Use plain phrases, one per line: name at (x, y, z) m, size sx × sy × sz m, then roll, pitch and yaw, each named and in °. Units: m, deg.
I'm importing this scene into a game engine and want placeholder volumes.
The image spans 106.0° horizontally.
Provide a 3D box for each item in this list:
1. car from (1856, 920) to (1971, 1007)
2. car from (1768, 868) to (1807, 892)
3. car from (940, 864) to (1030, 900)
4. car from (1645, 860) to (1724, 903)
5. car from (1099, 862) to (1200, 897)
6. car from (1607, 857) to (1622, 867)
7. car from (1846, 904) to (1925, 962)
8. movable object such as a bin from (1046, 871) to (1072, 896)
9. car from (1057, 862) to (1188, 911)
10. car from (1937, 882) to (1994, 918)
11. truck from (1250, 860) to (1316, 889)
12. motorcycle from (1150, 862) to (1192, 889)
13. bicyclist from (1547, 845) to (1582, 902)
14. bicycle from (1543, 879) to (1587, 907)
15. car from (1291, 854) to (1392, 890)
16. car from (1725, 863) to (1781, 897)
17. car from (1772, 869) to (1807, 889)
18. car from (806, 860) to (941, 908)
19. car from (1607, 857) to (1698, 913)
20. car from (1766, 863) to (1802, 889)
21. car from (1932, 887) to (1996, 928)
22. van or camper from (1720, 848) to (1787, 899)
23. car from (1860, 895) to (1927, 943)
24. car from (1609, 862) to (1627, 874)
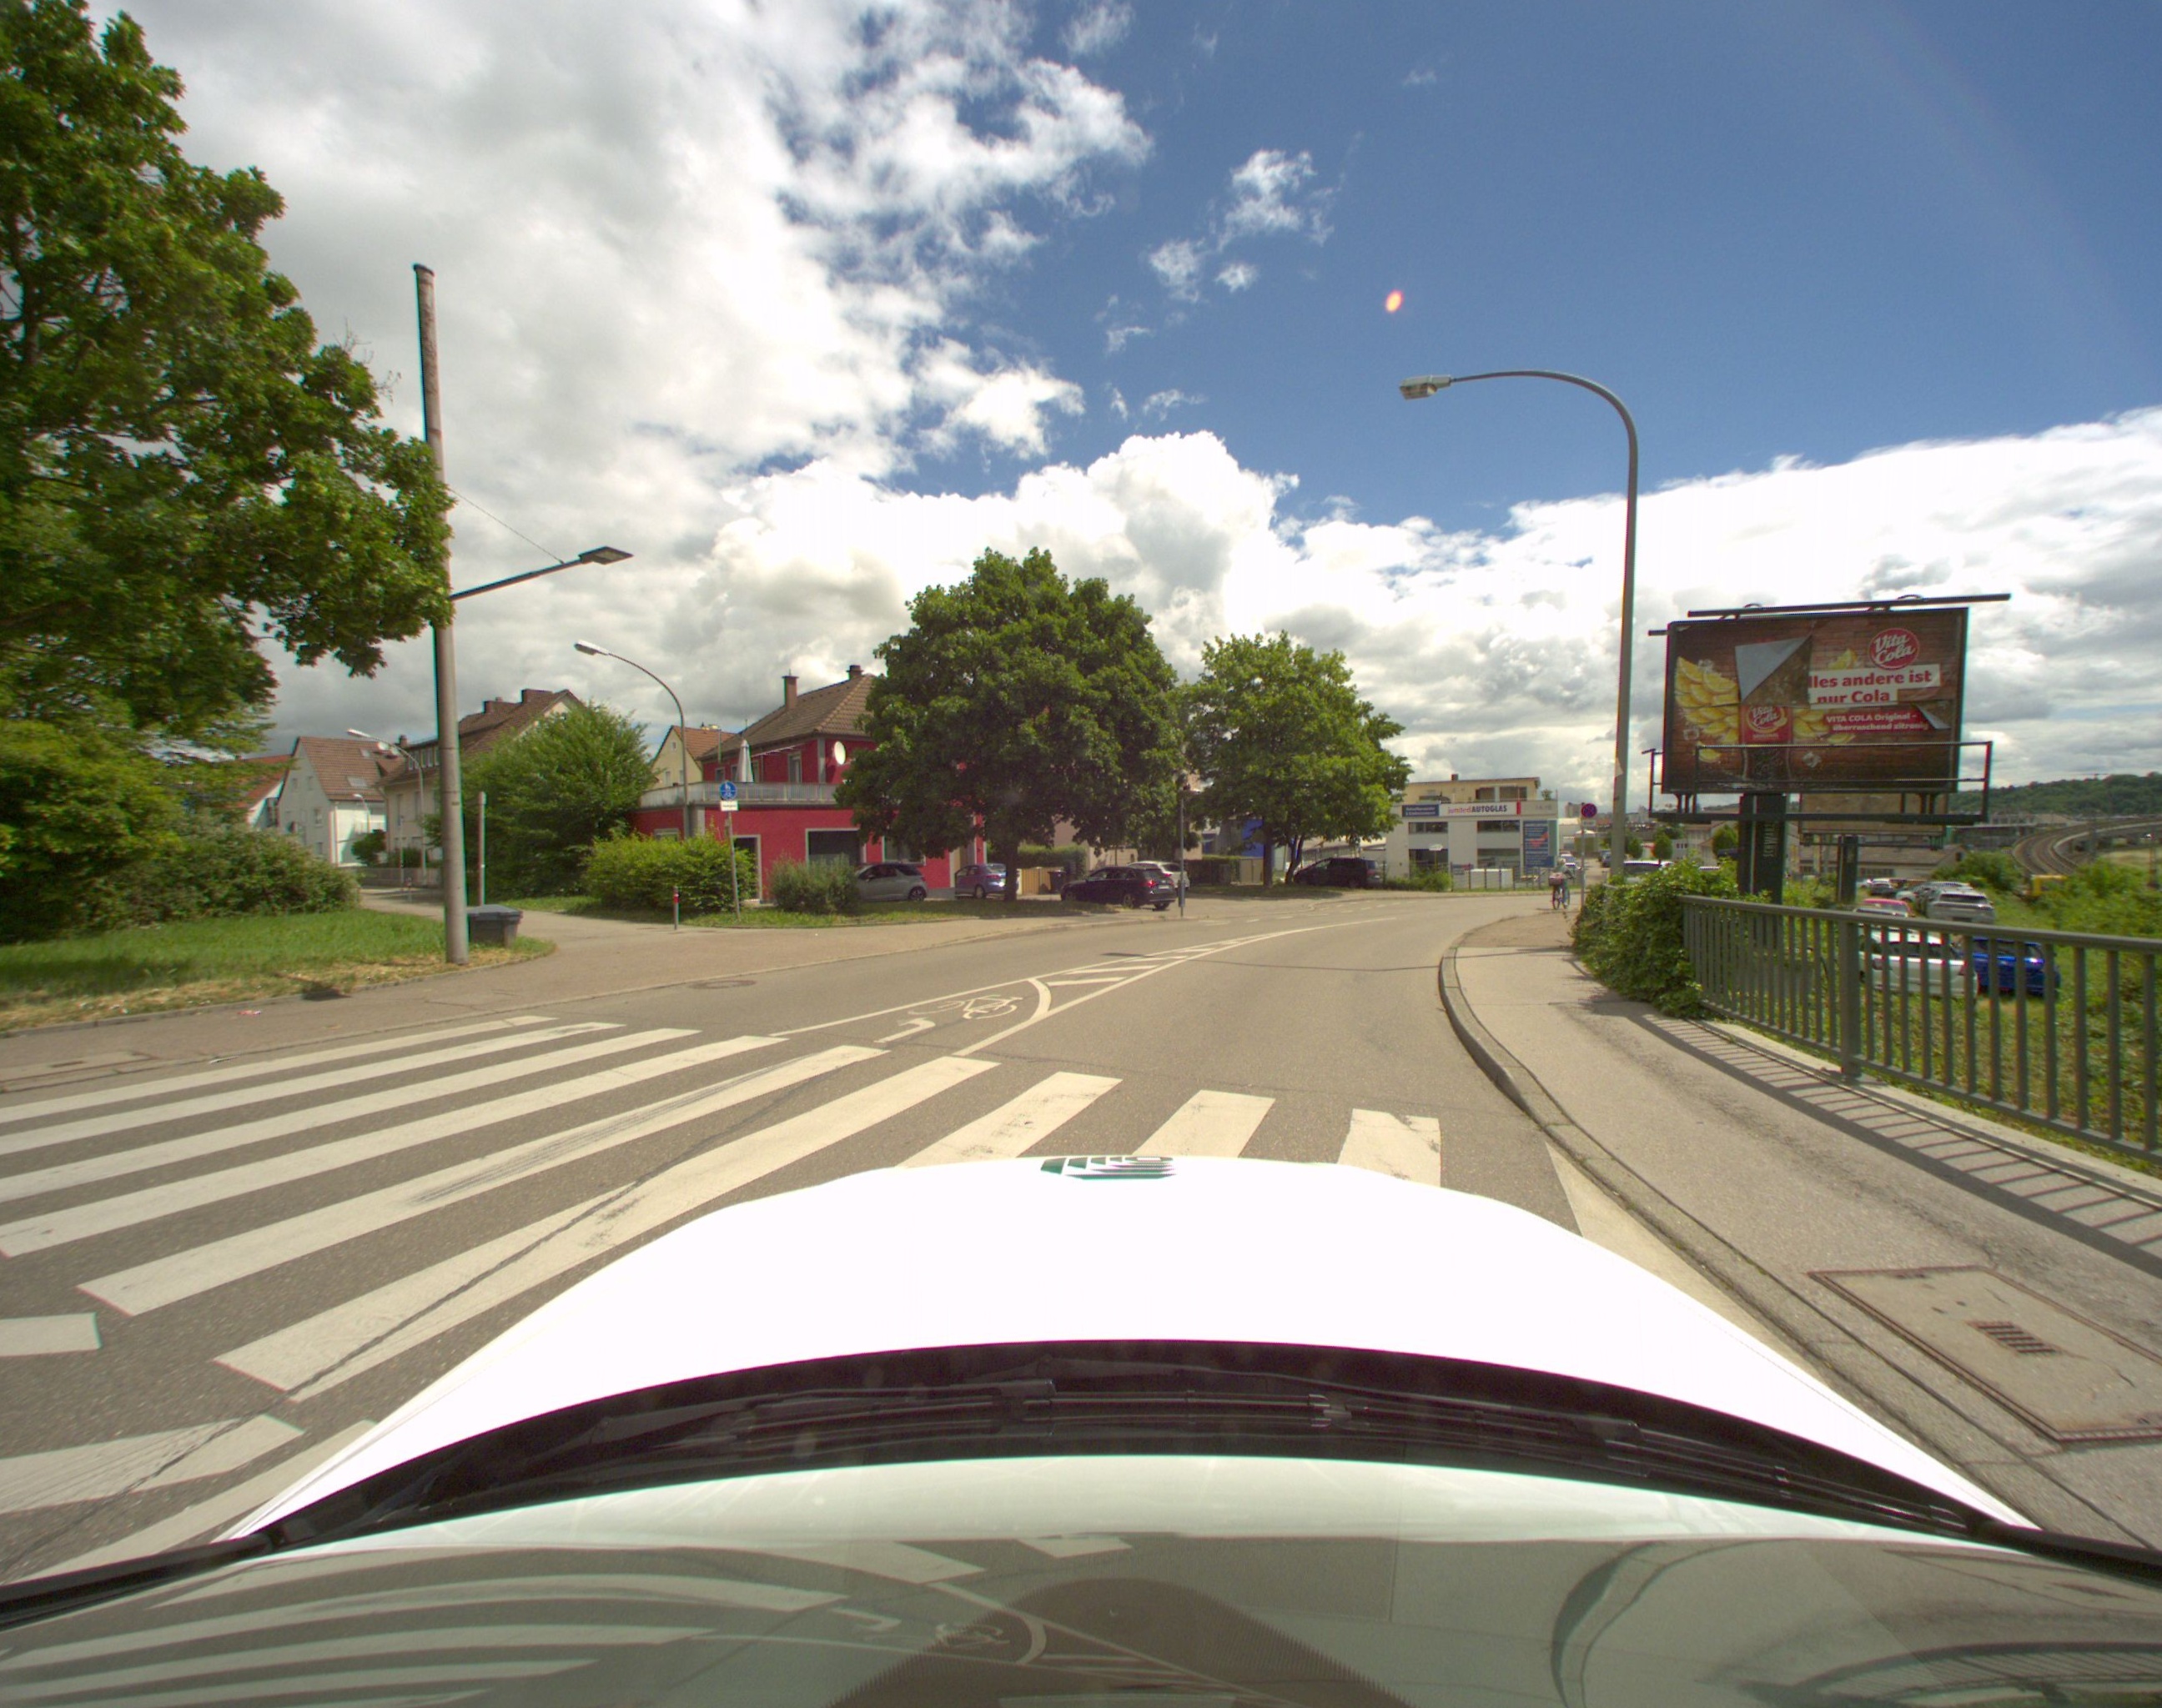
car at (18.914, 2.392, 18.549) m, size 3.528 × 1.510 × 1.690 m, roll 1°, pitch 0°, yaw -44°
car at (46.220, 1.682, 53.272) m, size 1.776 × 1.506 × 2.923 m, roll -3°, pitch -3°, yaw 43°
car at (-4.055, 1.151, 34.084) m, size 1.853 × 1.378 × 3.767 m, roll 0°, pitch -1°, yaw -43°
car at (22.803, 0.982, 30.707) m, size 4.599 × 1.487 × 1.690 m, roll 1°, pitch 0°, yaw -44°
car at (2.828, 1.036, 34.228) m, size 3.882 × 1.404 × 1.887 m, roll -1°, pitch -1°, yaw 43°
car at (73.928, 1.117, 112.944) m, size 1.654 × 1.324 × 3.741 m, roll -2°, pitch -3°, yaw 32°
car at (25.484, 2.441, 25.793) m, size 3.528 × 1.510 × 1.690 m, roll 1°, pitch 0°, yaw -44°
movable object such as a bin at (-0.982, 1.304, 36.138) m, size 0.885 × 1.061 × 0.749 m, roll 1°, pitch 0°, yaw -40°
car at (1.306, 1.024, 26.963) m, size 2.011 × 1.393 × 4.093 m, roll 0°, pitch 0°, yaw -44°
car at (41.414, 2.112, 38.185) m, size 3.717 × 1.510 × 1.690 m, roll 1°, pitch 0°, yaw -44°
truck at (19.664, 2.049, 79.295) m, size 5.725 × 2.707 × 2.191 m, roll -3°, pitch -3°, yaw 33°
motorcycle at (4.577, 1.098, 41.316) m, size 0.909 × 1.315 × 2.249 m, roll 1°, pitch 0°, yaw 44°
bicyclist at (15.873, 0.637, 26.732) m, size 1.086 × 1.826 × 0.678 m, roll 2°, pitch -4°, yaw -44°
bicycle at (15.917, 1.265, 26.751) m, size 2.113 × 0.878 × 0.681 m, roll 1°, pitch -3°, yaw -44°
car at (13.782, 0.936, 43.214) m, size 2.011 × 1.716 × 4.656 m, roll 3°, pitch -2°, yaw -44°
car at (32.419, 1.227, 39.244) m, size 3.717 × 1.510 × 1.690 m, roll 1°, pitch 0°, yaw -44°
car at (52.180, 1.846, 59.968) m, size 1.885 × 1.442 × 3.565 m, roll -3°, pitch -3°, yaw 42°
car at (-6.818, 0.938, 27.063) m, size 4.101 × 1.425 × 1.625 m, roll 0°, pitch 0°, yaw -45°
car at (18.922, 0.951, 26.886) m, size 4.332 × 1.678 × 1.690 m, roll 1°, pitch 0°, yaw -44°
car at (56.522, 1.729, 65.455) m, size 1.975 × 2.014 × 4.947 m, roll 0°, pitch -1°, yaw 43°
car at (37.918, 2.233, 35.049) m, size 4.555 × 1.510 × 1.690 m, roll 1°, pitch 0°, yaw -44°
van or camper at (36.204, 1.048, 43.775) m, size 5.950 × 2.585 × 2.105 m, roll 1°, pitch -2°, yaw -44°
car at (30.520, 2.373, 30.593) m, size 3.717 × 1.510 × 1.690 m, roll 1°, pitch 0°, yaw -44°
car at (64.333, 1.659, 97.573) m, size 1.654 × 1.324 × 3.741 m, roll -1°, pitch -3°, yaw 34°
